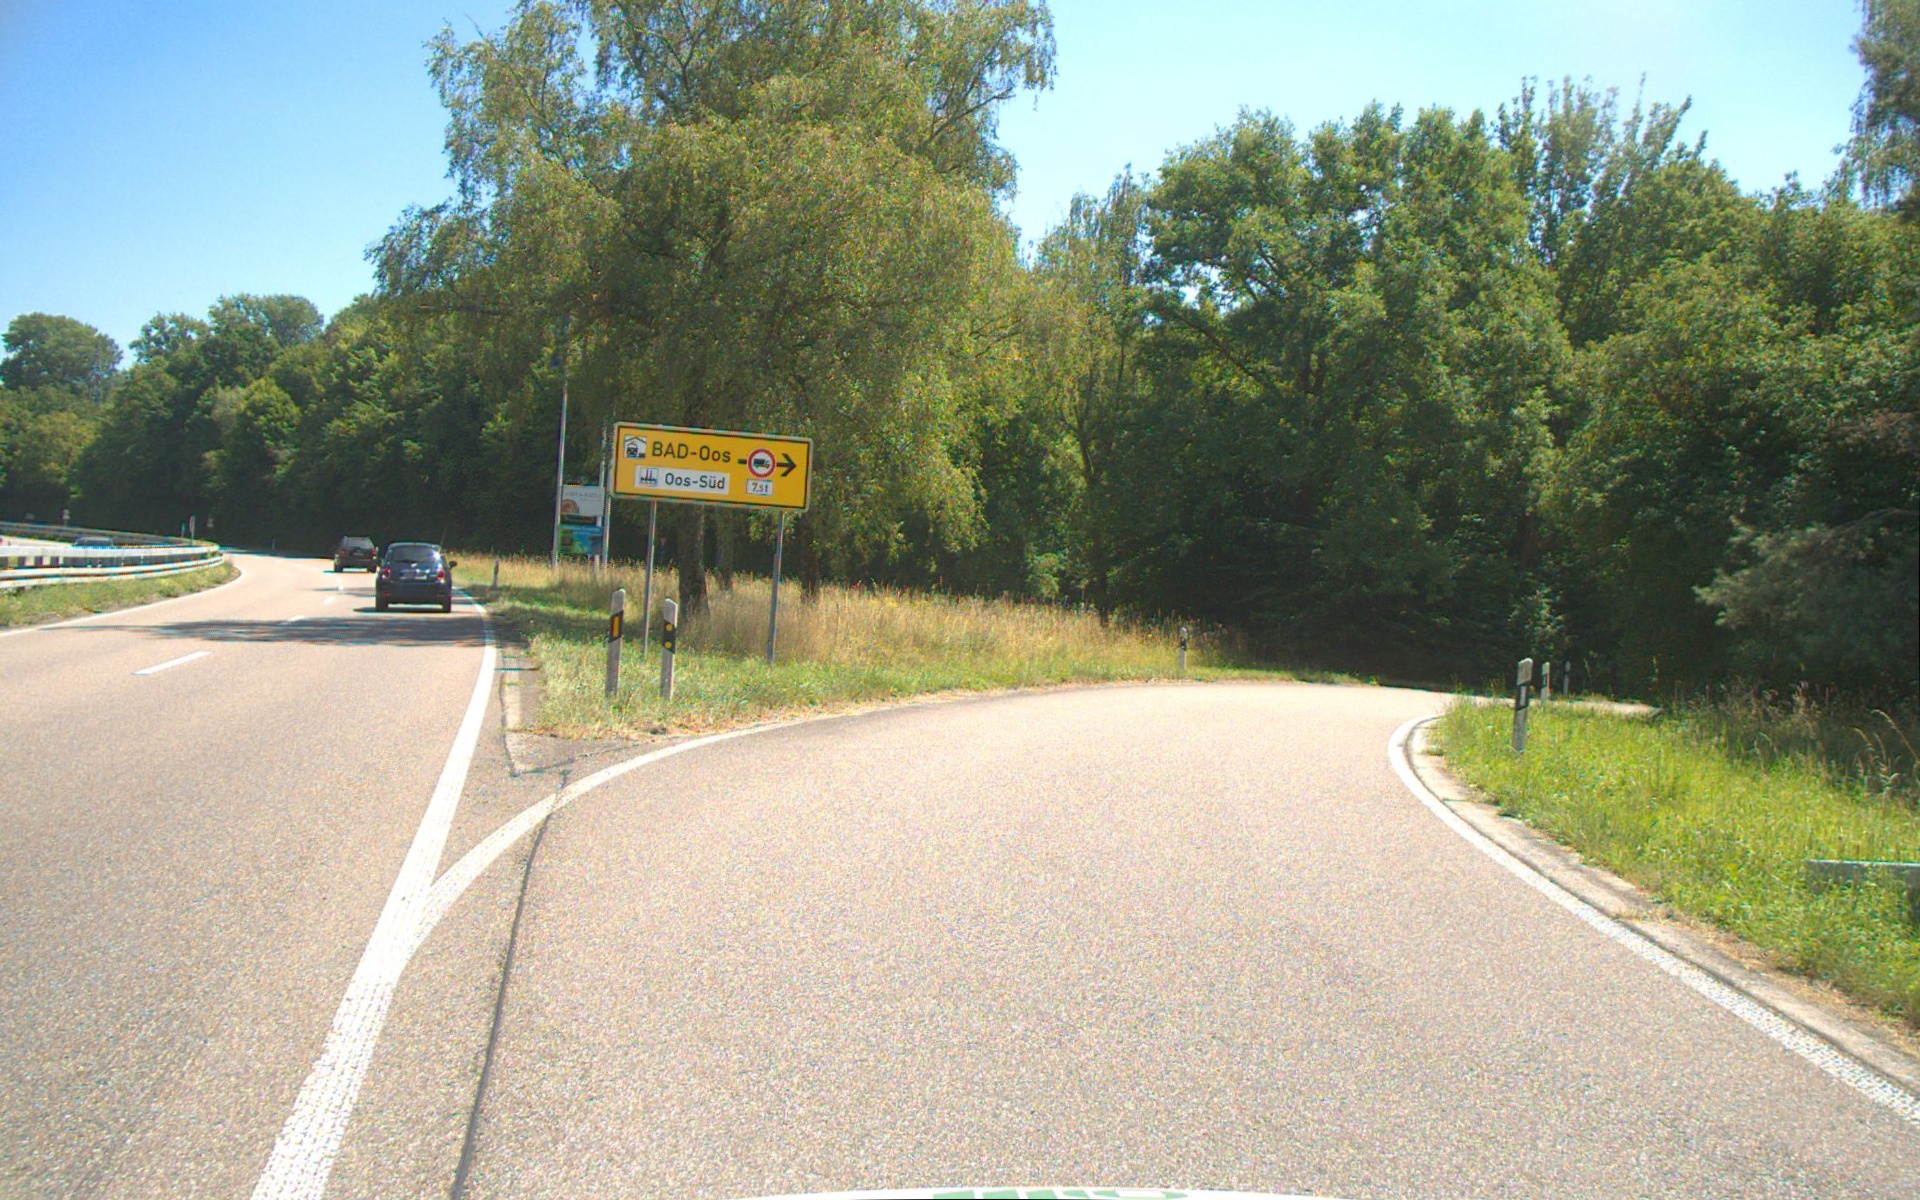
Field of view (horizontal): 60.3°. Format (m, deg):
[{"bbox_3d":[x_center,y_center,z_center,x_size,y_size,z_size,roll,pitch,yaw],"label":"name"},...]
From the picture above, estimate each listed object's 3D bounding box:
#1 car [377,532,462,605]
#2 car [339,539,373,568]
[{"bbox_3d":[-12.115,-0.709,37.211,1.488,1.527,3.578,1,1,-14],"label":"car"},{"bbox_3d":[-29.311,-2.236,80.308,1.503,1.336,3.395,1,1,-20],"label":"car"}]
